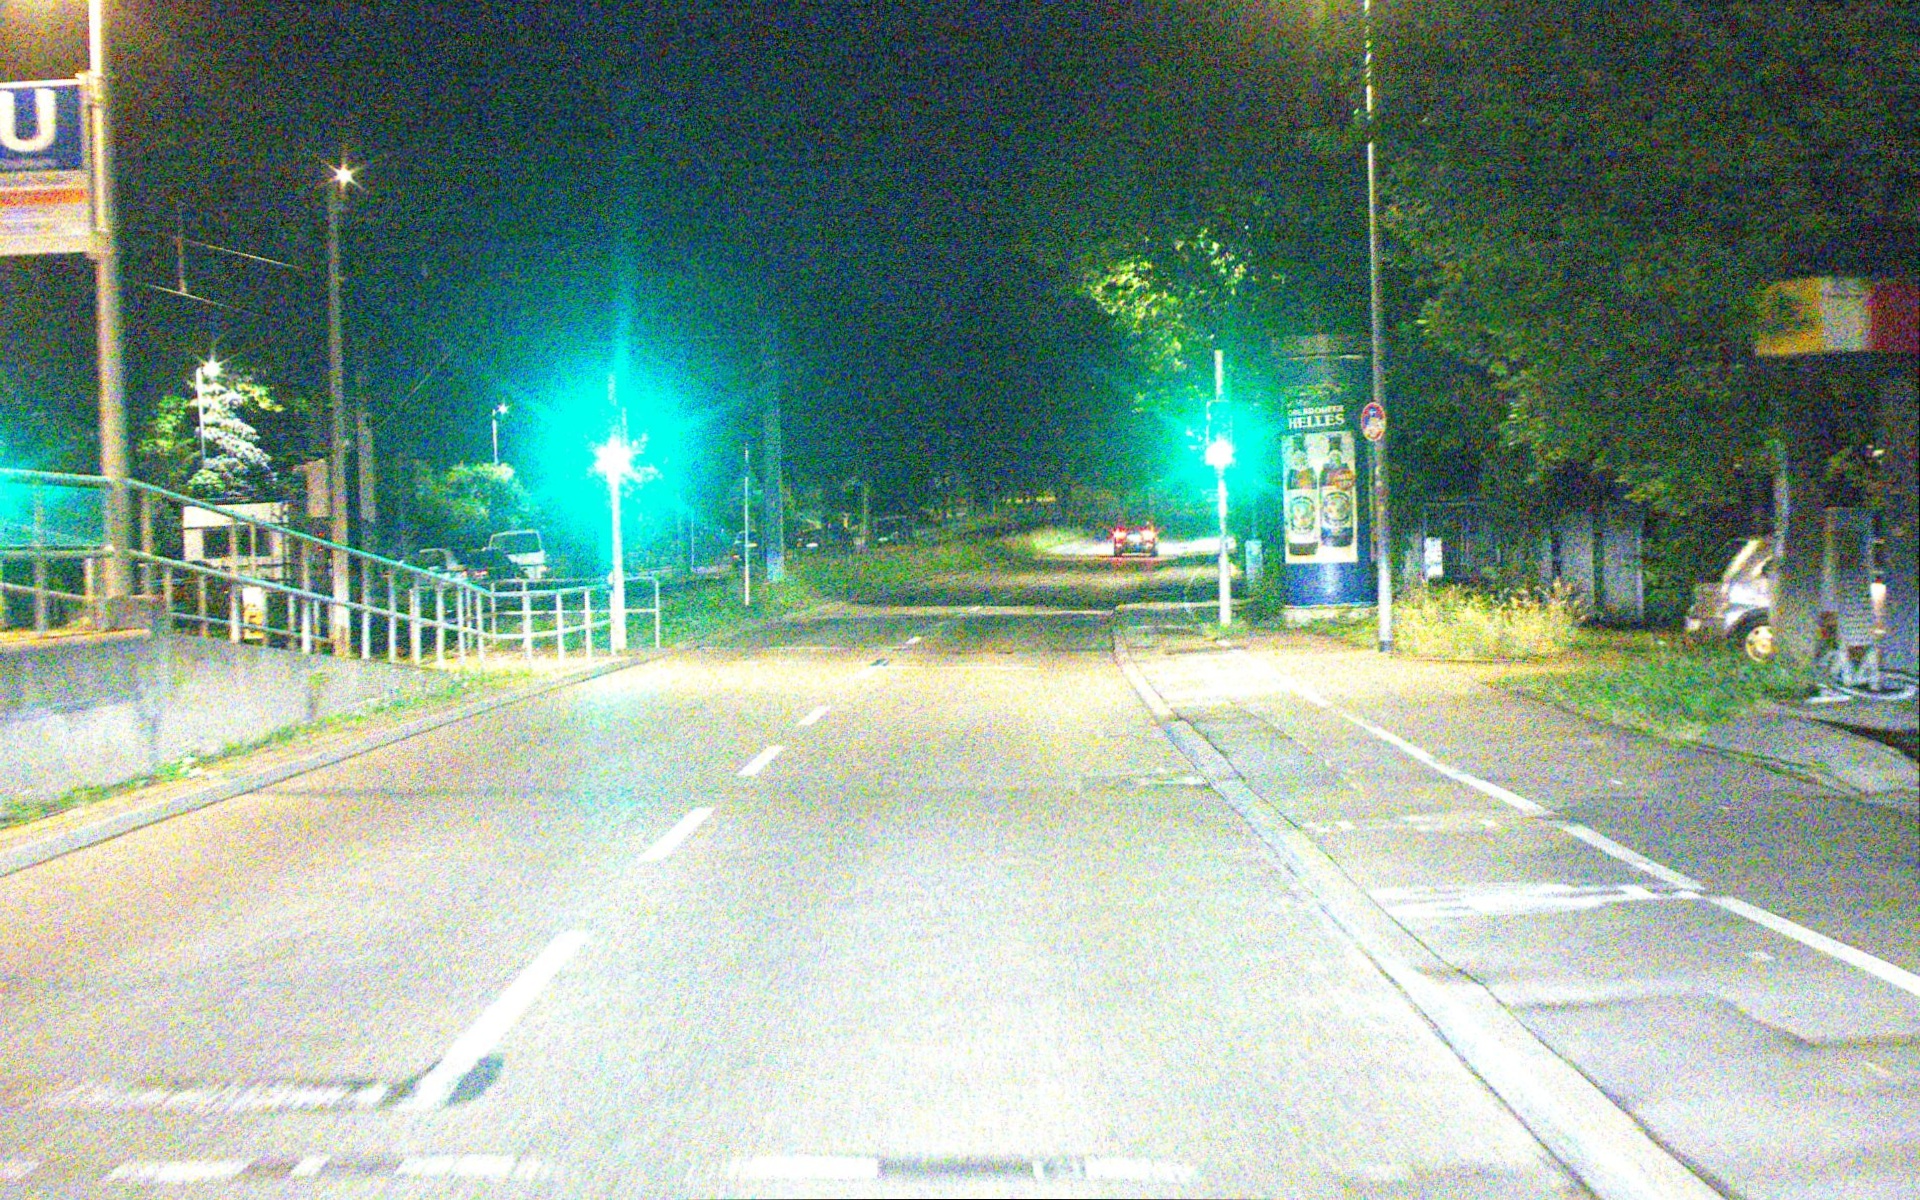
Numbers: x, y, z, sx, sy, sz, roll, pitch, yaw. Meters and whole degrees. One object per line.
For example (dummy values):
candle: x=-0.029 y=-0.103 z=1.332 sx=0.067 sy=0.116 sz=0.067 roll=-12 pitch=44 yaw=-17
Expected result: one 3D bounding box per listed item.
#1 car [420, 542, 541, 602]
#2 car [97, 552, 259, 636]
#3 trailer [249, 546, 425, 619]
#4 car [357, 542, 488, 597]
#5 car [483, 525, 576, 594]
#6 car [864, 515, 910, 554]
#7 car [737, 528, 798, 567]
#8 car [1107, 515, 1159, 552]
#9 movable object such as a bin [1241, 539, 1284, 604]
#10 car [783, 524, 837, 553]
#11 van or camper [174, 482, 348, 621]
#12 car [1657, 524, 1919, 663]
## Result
car: x=-12.744 y=-0.773 z=91.700 sx=1.902 sy=1.517 sz=5.170 roll=-1 pitch=1 yaw=7
car: x=-14.585 y=-0.133 z=64.354 sx=1.646 sy=1.335 sz=4.543 roll=-5 pitch=1 yaw=3
trailer: x=-14.021 y=-0.420 z=77.637 sx=2.420 sy=1.370 sz=4.653 roll=-5 pitch=1 yaw=9
car: x=-13.464 y=-0.771 z=86.233 sx=3.028 sy=1.321 sz=1.534 roll=-1 pitch=1 yaw=0
car: x=-12.210 y=-1.176 z=97.751 sx=1.857 sy=1.897 sz=4.880 roll=-1 pitch=1 yaw=2
car: x=-4.165 y=-3.754 z=195.945 sx=2.092 sy=2.006 sz=4.000 roll=-5 pitch=1 yaw=4
car: x=-8.133 y=-2.237 z=145.927 sx=1.994 sy=1.622 sz=4.677 roll=-1 pitch=1 yaw=4
car: x=7.464 y=-2.875 z=148.589 sx=2.161 sy=1.577 sz=4.013 roll=0 pitch=1 yaw=1
movable object such as a bin: x=5.727 y=-0.538 z=65.056 sx=0.724 sy=1.196 sz=0.719 roll=-1 pitch=1 yaw=11
car: x=-7.202 y=-2.973 z=165.610 sx=1.994 sy=1.333 sz=5.431 roll=-1 pitch=1 yaw=4
van or camper: x=-14.317 y=-1.022 z=70.764 sx=2.272 sy=2.638 sz=5.664 roll=-3 pitch=1 yaw=0
car: x=9.252 y=-0.096 z=35.444 sx=3.764 sy=1.349 sz=1.859 roll=-1 pitch=1 yaw=2
